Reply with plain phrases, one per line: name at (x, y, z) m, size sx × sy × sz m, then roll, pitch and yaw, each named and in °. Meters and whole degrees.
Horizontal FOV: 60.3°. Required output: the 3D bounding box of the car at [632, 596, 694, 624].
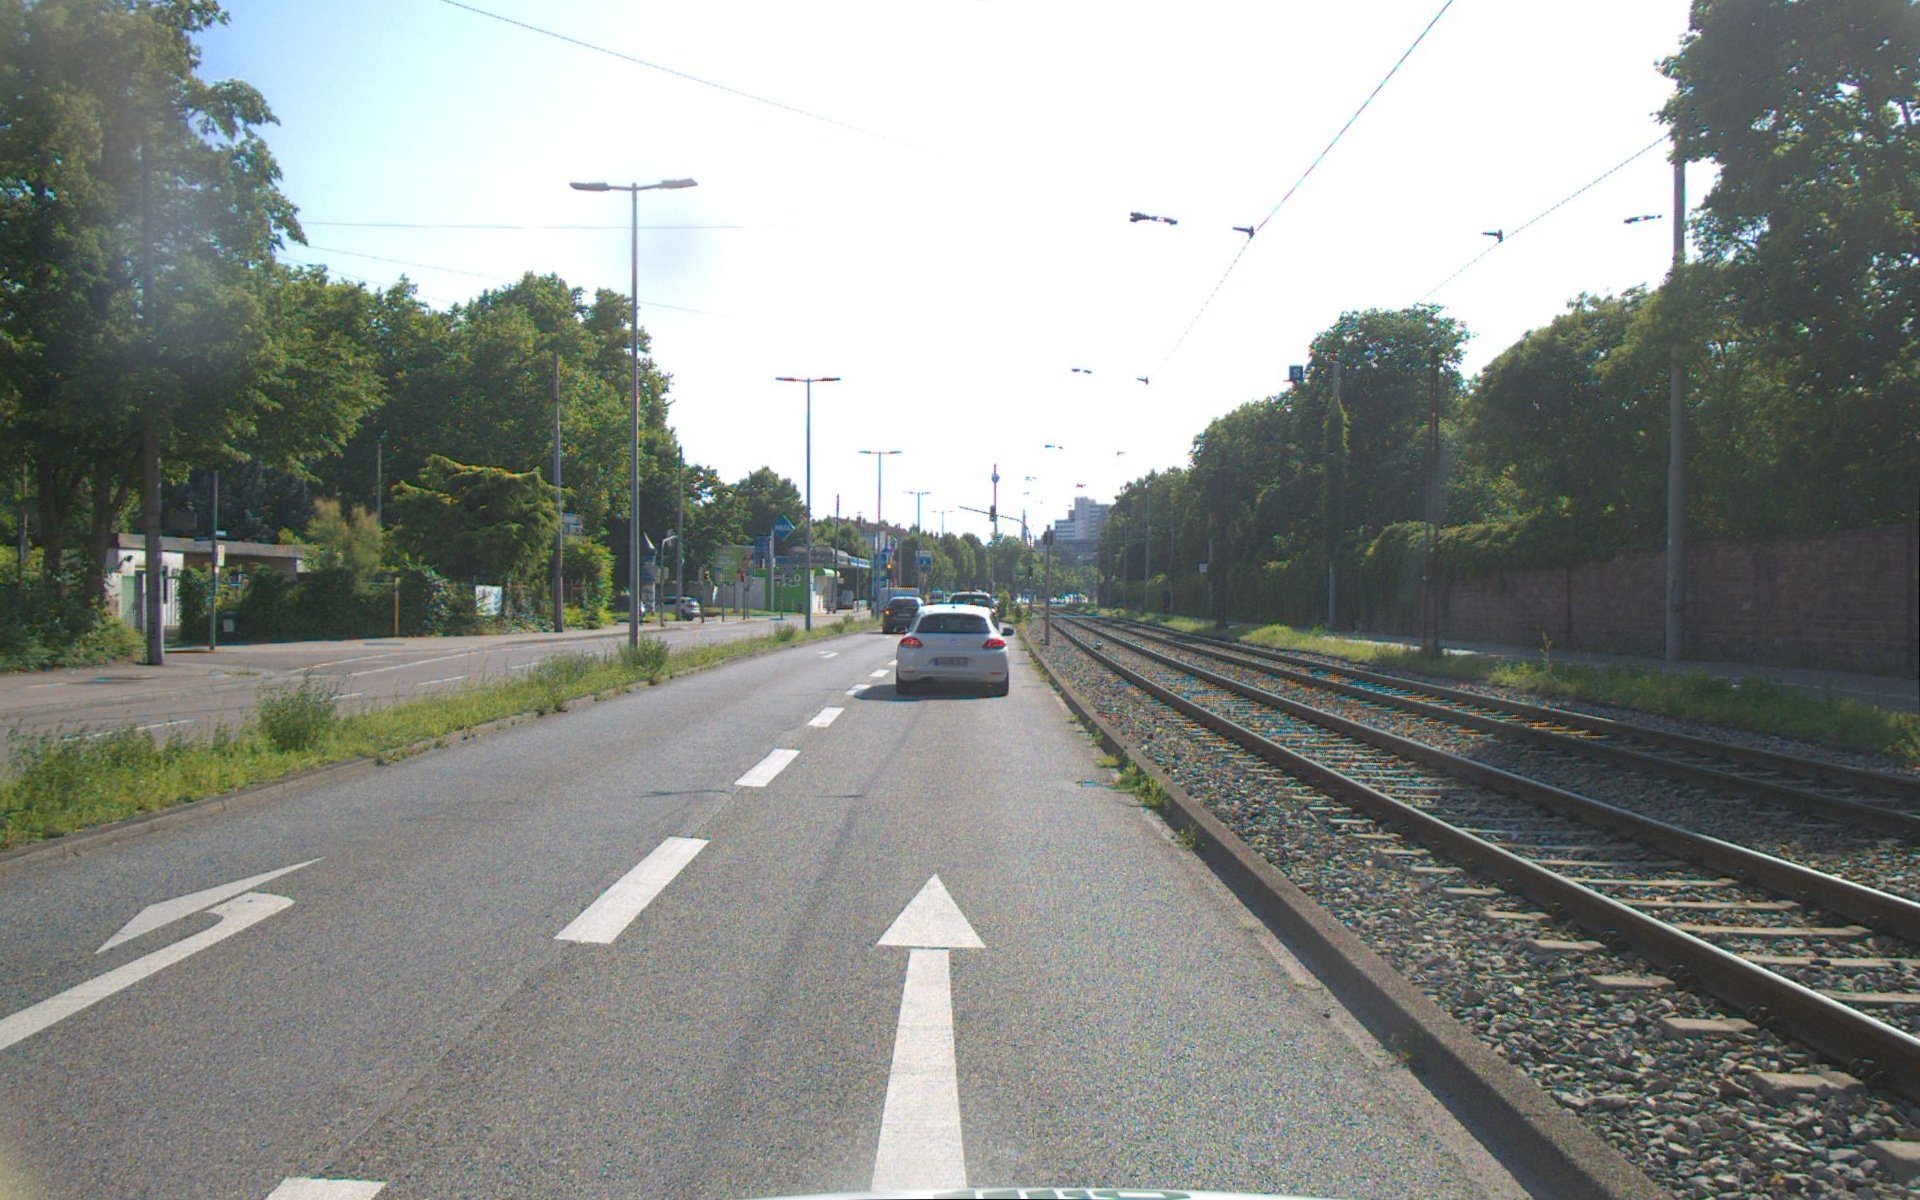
car at (-20.477, 0.660, 114.081) m, size 3.857 × 1.764 × 1.656 m, roll 2°, pitch 0°, yaw 3°

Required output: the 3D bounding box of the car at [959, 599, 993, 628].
car at (0.882, 0.751, 92.368) m, size 1.713 × 1.511 × 3.600 m, roll 2°, pitch 0°, yaw -2°

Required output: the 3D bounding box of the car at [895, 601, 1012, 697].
car at (-0.120, 0.741, 26.844) m, size 1.745 × 1.380 × 3.600 m, roll 2°, pitch 0°, yaw -1°

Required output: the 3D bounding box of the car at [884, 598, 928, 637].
car at (-2.231, 0.682, 68.685) m, size 1.725 × 1.511 × 4.643 m, roll 2°, pitch 0°, yaw -2°

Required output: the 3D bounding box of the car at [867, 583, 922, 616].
car at (-4.041, -0.021, 101.032) m, size 1.795 × 1.997 × 4.367 m, roll 0°, pitch 0°, yaw -25°

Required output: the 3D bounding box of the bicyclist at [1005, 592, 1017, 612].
bicyclist at (3.650, 0.133, 118.810) m, size 0.629 × 1.441 × 1.013 m, roll 0°, pitch 0°, yaw 16°

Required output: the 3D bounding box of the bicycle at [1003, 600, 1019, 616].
bicycle at (3.671, 0.559, 118.862) m, size 0.629 × 1.174 × 1.938 m, roll 0°, pitch 0°, yaw 16°

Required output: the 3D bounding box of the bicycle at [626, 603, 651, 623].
bicycle at (-17.400, 0.706, 89.497) m, size 0.648 × 1.068 × 2.582 m, roll 0°, pitch 0°, yaw 5°

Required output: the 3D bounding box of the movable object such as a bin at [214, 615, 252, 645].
movable object such as a bin at (-22.940, 0.940, 52.195) m, size 0.799 × 0.947 × 0.853 m, roll 0°, pitch 0°, yaw 1°

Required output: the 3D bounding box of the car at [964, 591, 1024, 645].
car at (1.064, 0.552, 52.940) m, size 1.689 × 1.620 × 3.600 m, roll 2°, pitch 0°, yaw -2°

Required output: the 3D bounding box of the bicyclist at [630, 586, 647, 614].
bicyclist at (-17.408, 0.003, 89.551) m, size 0.648 × 1.478 × 1.051 m, roll 0°, pitch 0°, yaw 5°
